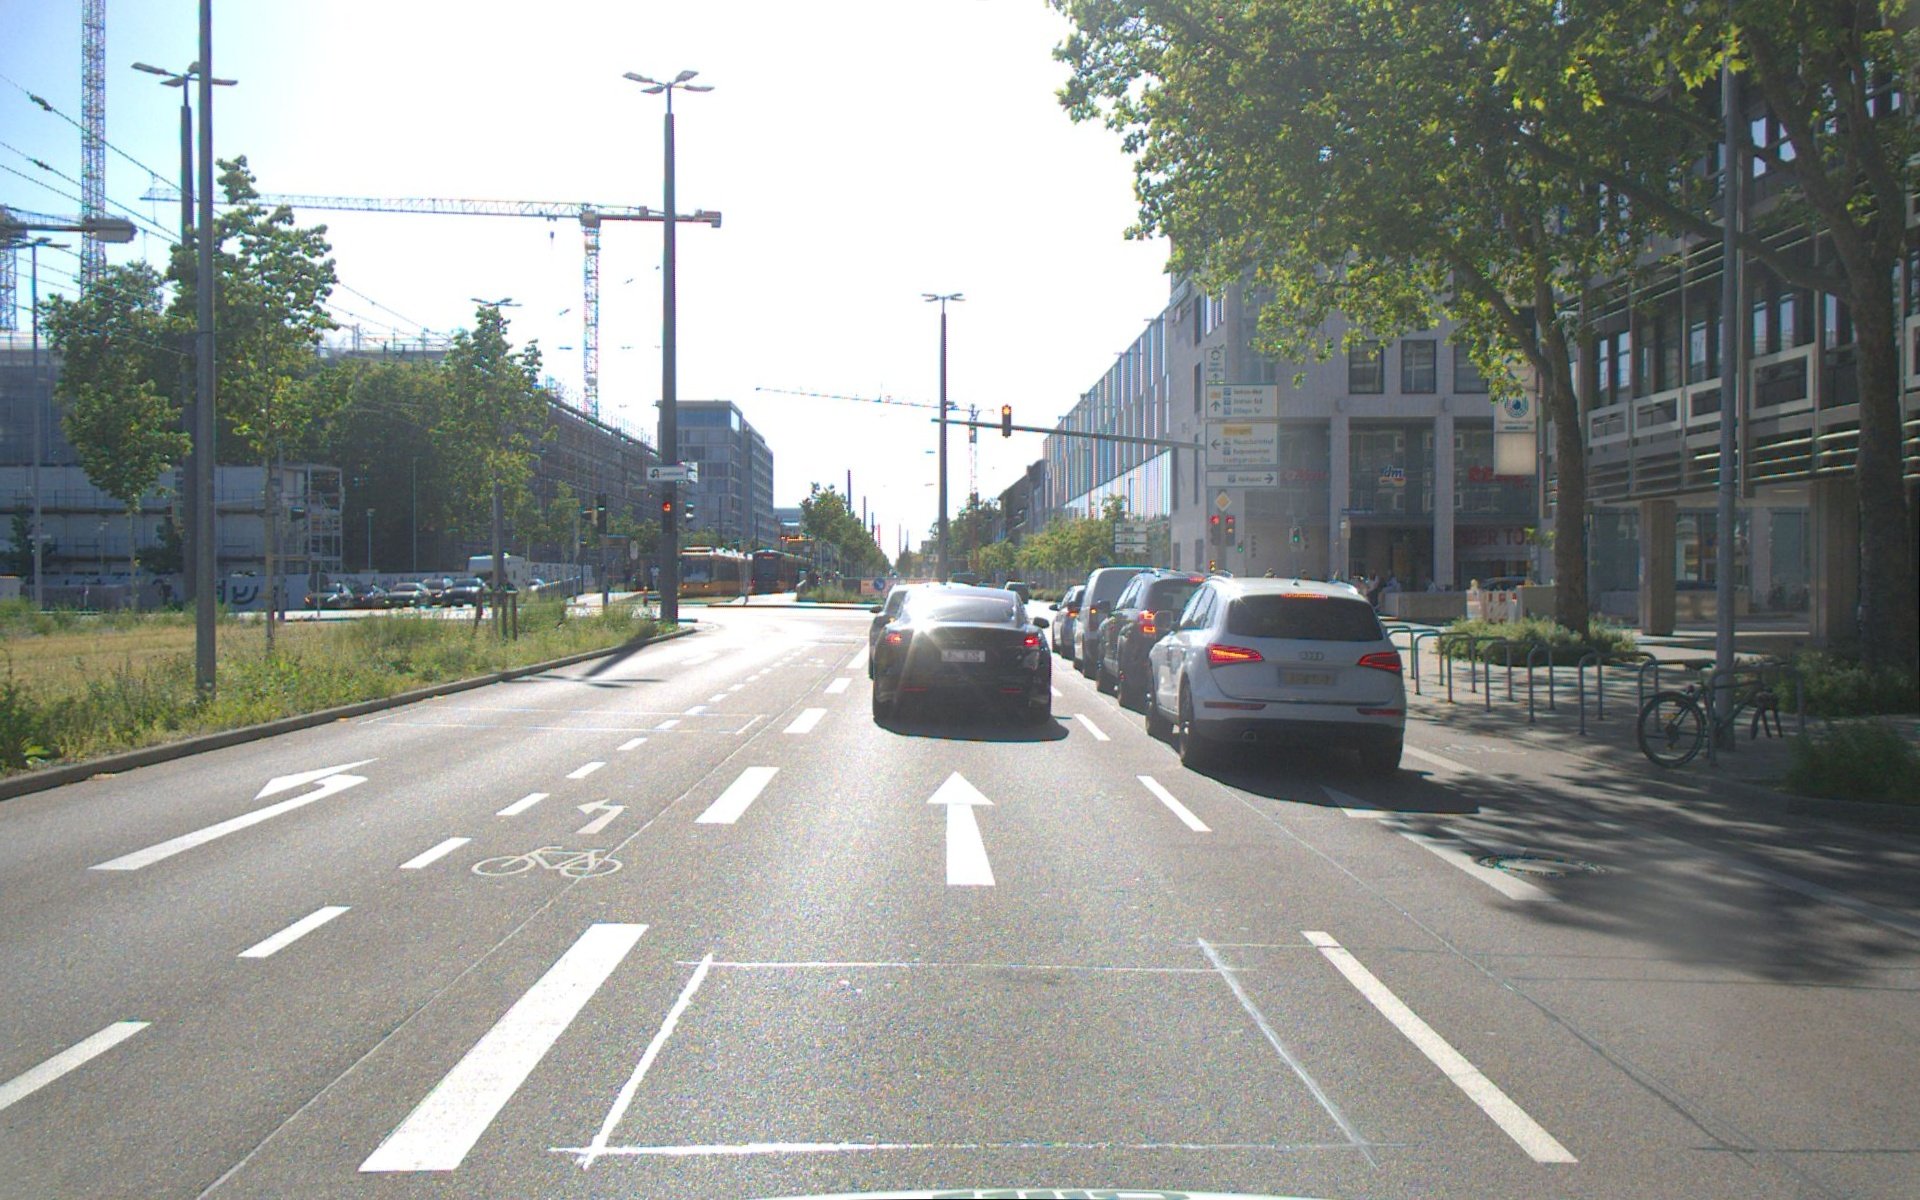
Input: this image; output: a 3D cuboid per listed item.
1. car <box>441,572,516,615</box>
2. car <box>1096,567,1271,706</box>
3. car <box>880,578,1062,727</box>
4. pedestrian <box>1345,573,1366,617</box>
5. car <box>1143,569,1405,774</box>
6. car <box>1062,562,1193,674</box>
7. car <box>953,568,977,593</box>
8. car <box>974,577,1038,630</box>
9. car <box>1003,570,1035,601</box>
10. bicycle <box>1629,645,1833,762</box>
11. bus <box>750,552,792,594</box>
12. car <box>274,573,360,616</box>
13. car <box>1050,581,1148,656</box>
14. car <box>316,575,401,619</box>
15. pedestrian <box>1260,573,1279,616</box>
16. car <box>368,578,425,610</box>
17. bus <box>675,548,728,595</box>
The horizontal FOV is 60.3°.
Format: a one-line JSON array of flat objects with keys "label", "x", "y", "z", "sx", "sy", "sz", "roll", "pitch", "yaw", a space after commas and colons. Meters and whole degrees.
[{"label": "car", "x": -14.408, "y": -0.171, "z": 49.608, "sx": 1.348, "sy": 1.199, "sz": 3.219, "roll": 2, "pitch": 0, "yaw": -2}, {"label": "car", "x": 2.881, "y": 0.412, "z": 22.138, "sx": 1.687, "sy": 1.682, "sz": 4.185, "roll": 0, "pitch": 1, "yaw": -1}, {"label": "car", "x": 0.055, "y": 0.519, "z": 19.109, "sx": 1.873, "sy": 1.512, "sz": 4.008, "roll": 0, "pitch": 1, "yaw": -2}, {"label": "pedestrian", "x": 13.350, "y": -0.171, "z": 55.850, "sx": 0.550, "sy": 1.466, "sz": 0.632, "roll": 2, "pitch": 0, "yaw": 6}, {"label": "car", "x": 2.766, "y": 0.541, "z": 15.443, "sx": 1.686, "sy": 1.646, "sz": 4.187, "roll": 0, "pitch": 1, "yaw": 1}, {"label": "car", "x": 2.836, "y": 0.258, "z": 28.802, "sx": 1.687, "sy": 1.813, "sz": 4.184, "roll": 0, "pitch": 1, "yaw": -3}, {"label": "car", "x": 0.390, "y": -1.683, "z": 143.078, "sx": 1.953, "sy": 2.049, "sz": 3.999, "roll": 2, "pitch": 0, "yaw": -1}, {"label": "car", "x": 1.295, "y": 0.072, "z": 48.018, "sx": 1.686, "sy": 1.456, "sz": 4.186, "roll": 0, "pitch": 1, "yaw": -1}, {"label": "car", "x": 4.060, "y": -0.967, "z": 114.709, "sx": 1.953, "sy": 2.049, "sz": 3.999, "roll": 2, "pitch": 0, "yaw": -1}, {"label": "bicycle", "x": 7.000, "y": 0.935, "z": 15.043, "sx": 1.660, "sy": 0.974, "sz": 0.478, "roll": -1, "pitch": 1, "yaw": -6}, {"label": "bus", "x": -14.427, "y": -1.997, "z": 126.542, "sx": 2.575, "sy": 3.011, "sz": 9.892, "roll": 2, "pitch": 0, "yaw": -4}, {"label": "car", "x": -19.276, "y": -0.158, "z": 49.684, "sx": 1.348, "sy": 1.199, "sz": 3.219, "roll": 2, "pitch": 0, "yaw": -2}, {"label": "car", "x": 2.877, "y": 0.340, "z": 35.019, "sx": 1.686, "sy": 1.456, "sz": 4.186, "roll": 0, "pitch": 1, "yaw": -1}, {"label": "car", "x": -17.545, "y": -0.082, "z": 48.384, "sx": 1.348, "sy": 1.199, "sz": 3.219, "roll": 2, "pitch": 0, "yaw": -2}, {"label": "pedestrian", "x": 10.784, "y": -0.197, "z": 57.708, "sx": 0.550, "sy": 1.466, "sz": 0.632, "roll": 2, "pitch": 0, "yaw": 6}, {"label": "car", "x": -30.490, "y": -0.327, "z": 89.590, "sx": 1.800, "sy": 1.641, "sz": 3.894, "roll": 2, "pitch": 0, "yaw": -2}, {"label": "bus", "x": -17.042, "y": -1.832, "z": 109.556, "sx": 2.575, "sy": 2.831, "sz": 8.838, "roll": 2, "pitch": 0, "yaw": -4}]
